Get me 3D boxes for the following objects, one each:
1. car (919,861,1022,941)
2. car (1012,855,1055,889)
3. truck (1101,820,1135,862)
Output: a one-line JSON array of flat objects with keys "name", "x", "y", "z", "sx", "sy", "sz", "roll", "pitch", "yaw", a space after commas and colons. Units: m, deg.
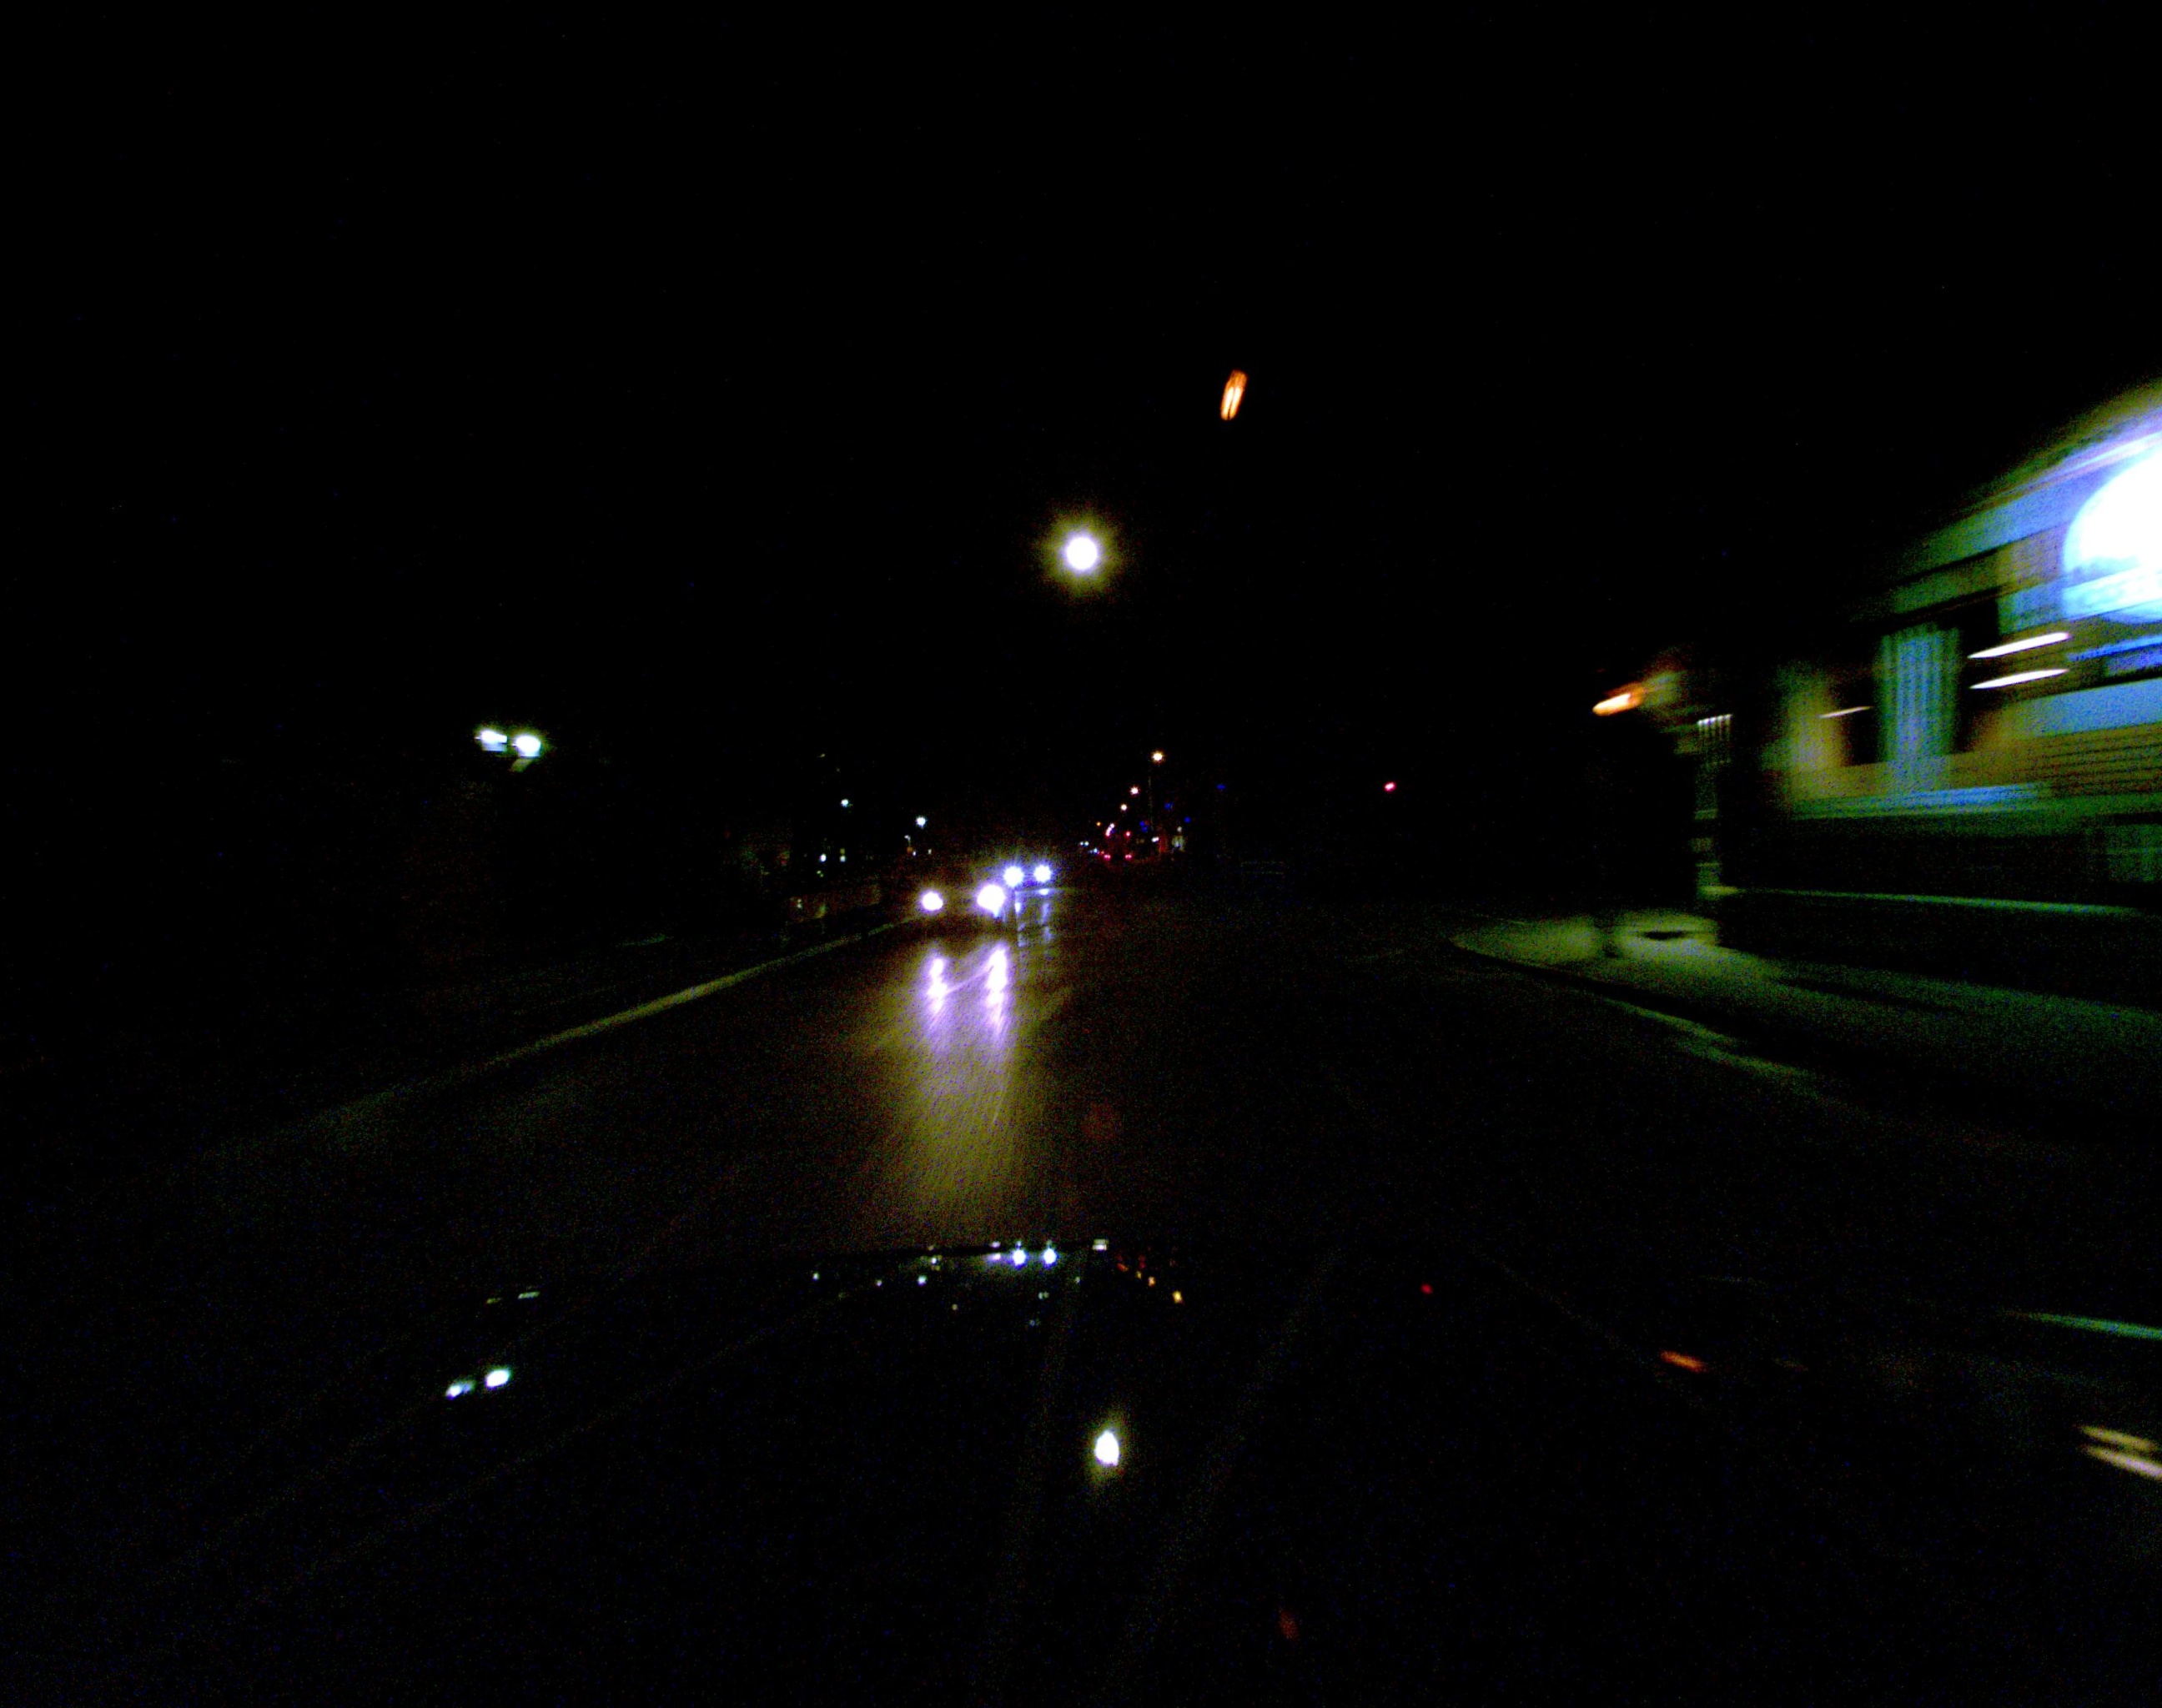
[{"name": "car", "x": -2.385, "y": 0.977, "z": 17.286, "sx": 1.634, "sy": 1.430, "sz": 3.840, "roll": -5, "pitch": 0, "yaw": 1}, {"name": "car", "x": -2.263, "y": 0.843, "z": 37.274, "sx": 1.729, "sy": 1.454, "sz": 4.000, "roll": -4, "pitch": 0, "yaw": 1}, {"name": "truck", "x": 4.424, "y": -1.544, "z": 92.705, "sx": 3.516, "sy": 4.557, "sz": 9.040, "roll": -4, "pitch": 0, "yaw": 1}]
